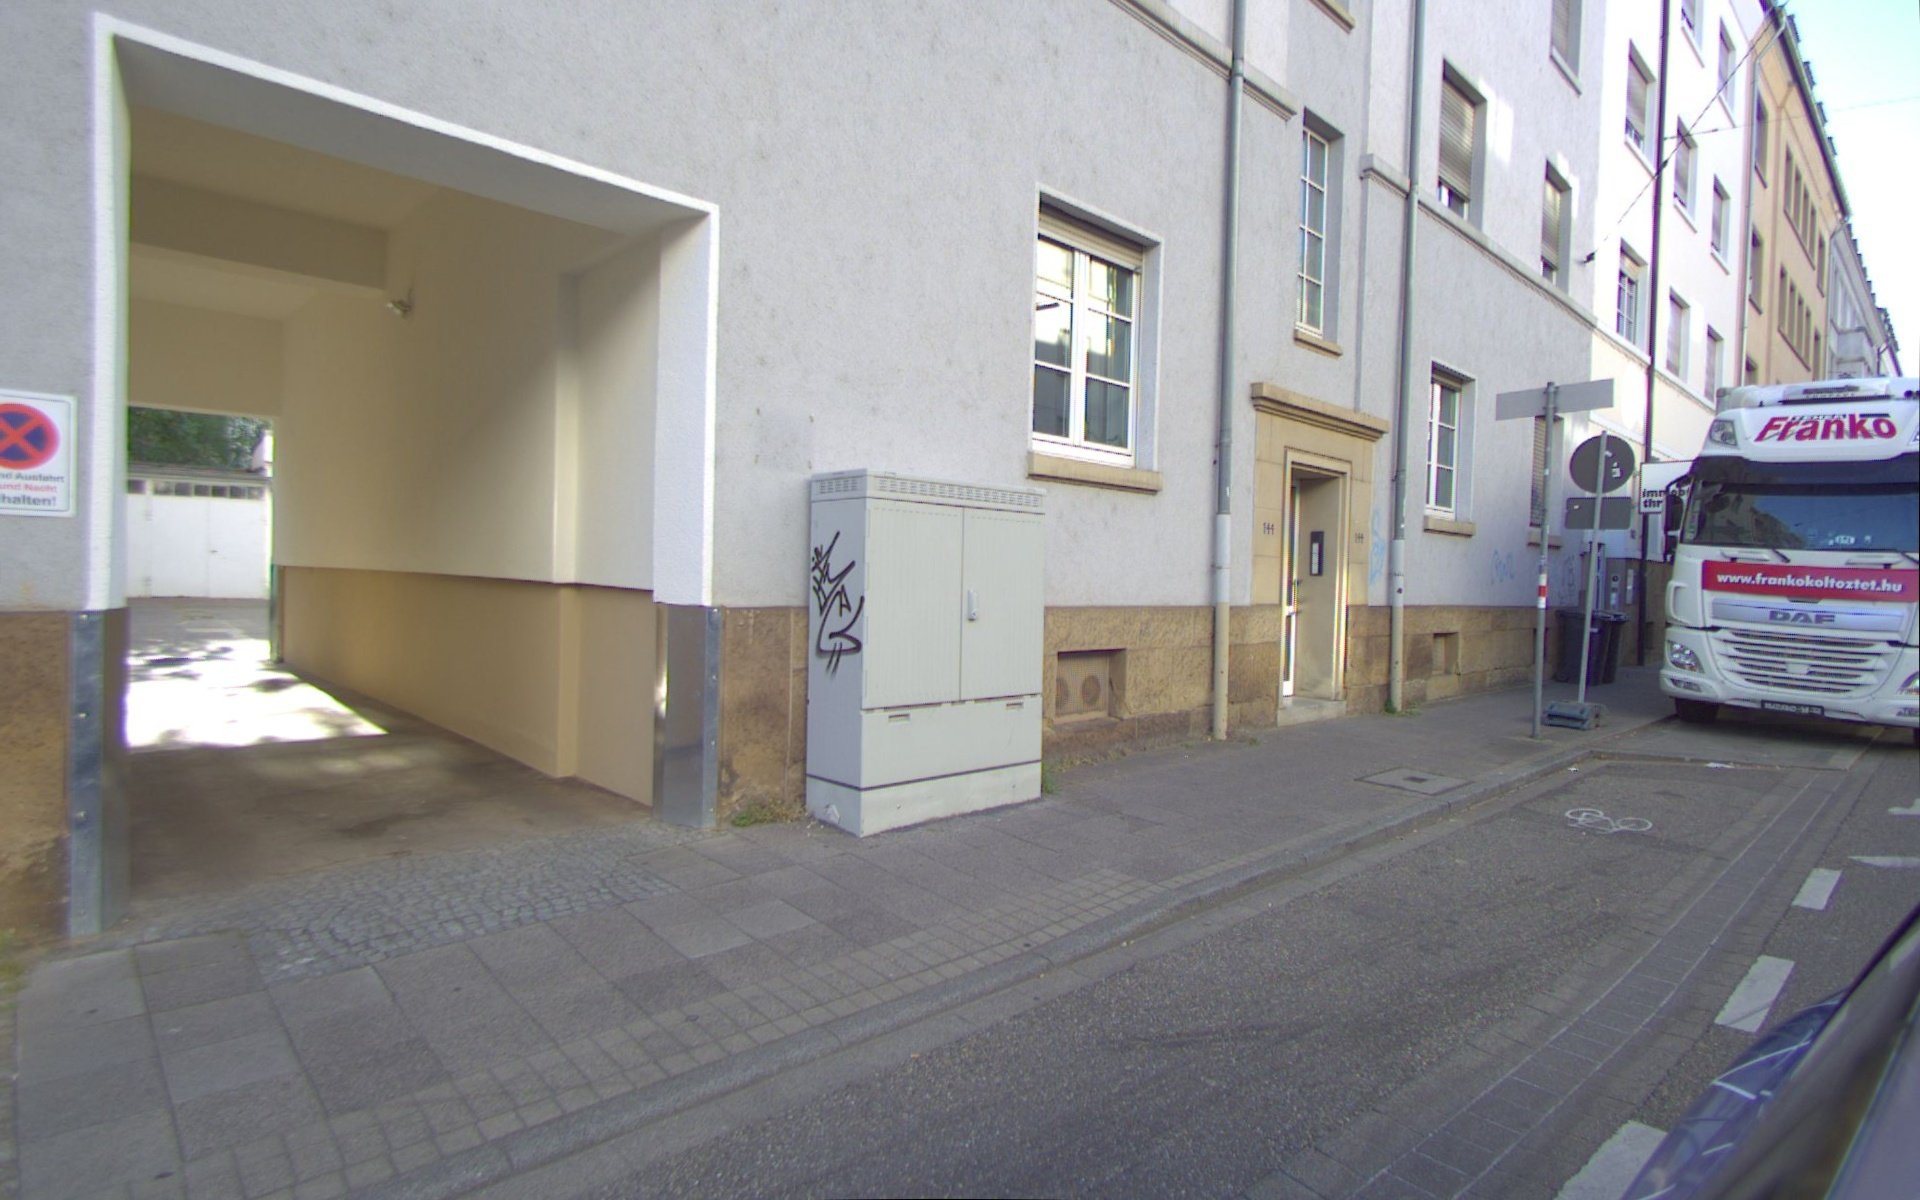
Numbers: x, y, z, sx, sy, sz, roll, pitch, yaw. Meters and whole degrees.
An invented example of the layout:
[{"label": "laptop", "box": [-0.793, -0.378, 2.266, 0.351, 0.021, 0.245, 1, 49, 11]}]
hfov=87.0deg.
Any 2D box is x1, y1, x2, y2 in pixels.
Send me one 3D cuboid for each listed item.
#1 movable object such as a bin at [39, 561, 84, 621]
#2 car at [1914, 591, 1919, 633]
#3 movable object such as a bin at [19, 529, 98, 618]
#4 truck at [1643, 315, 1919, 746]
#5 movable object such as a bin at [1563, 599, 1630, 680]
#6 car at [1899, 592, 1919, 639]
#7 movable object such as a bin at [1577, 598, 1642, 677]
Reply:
[{"label": "movable object such as a bin", "box": [-14.379, -0.146, 16.193, 0.518, 0.922, 0.580, 0, 2, -43]}, {"label": "car", "box": [37.674, 0.461, 38.623, 4.080, 1.551, 1.681, 0, 0, -44]}, {"label": "movable object such as a bin", "box": [-15.156, -0.453, 17.012, 0.946, 1.426, 1.597, 0, 2, -43]}, {"label": "truck", "box": [12.573, -0.679, 13.874, 11.621, 3.975, 2.778, 0, 2, -44]}, {"label": "movable object such as a bin", "box": [9.169, 0.551, 14.581, 0.560, 1.107, 0.665, 0, 2, -43]}, {"label": "car", "box": [33.503, 0.529, 34.726, 4.080, 1.551, 1.681, 0, 0, -44]}, {"label": "movable object such as a bin", "box": [9.648, 0.543, 15.032, 0.560, 1.107, 0.665, 0, 2, -43]}]
